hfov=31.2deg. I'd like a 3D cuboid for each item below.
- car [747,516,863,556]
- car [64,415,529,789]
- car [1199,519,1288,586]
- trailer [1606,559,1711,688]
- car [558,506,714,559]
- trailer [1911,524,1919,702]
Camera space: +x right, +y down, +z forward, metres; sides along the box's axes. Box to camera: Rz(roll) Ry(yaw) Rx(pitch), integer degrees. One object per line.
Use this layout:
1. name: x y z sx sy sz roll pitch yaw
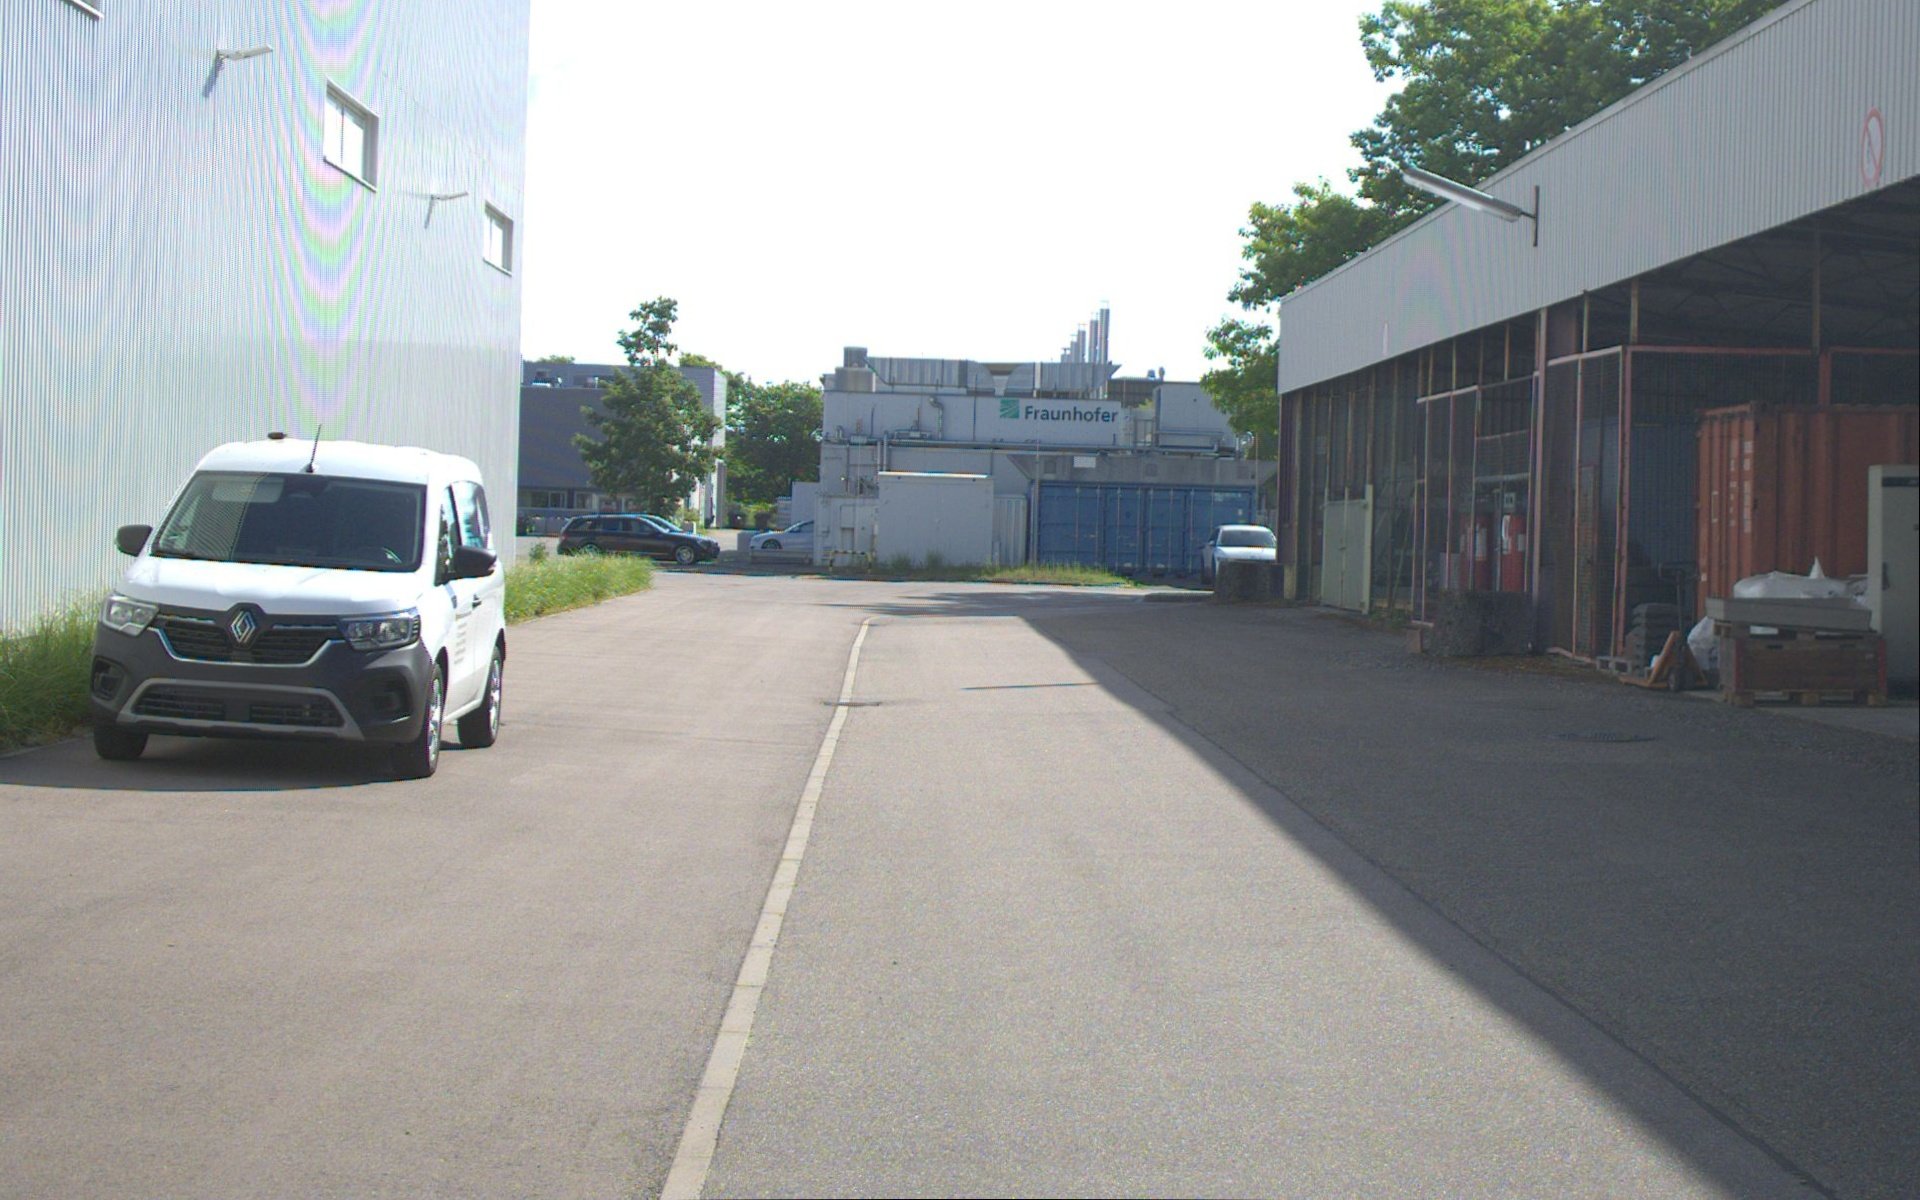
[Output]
1. car: -5.823 -2.418 129.615 4.302 1.452 1.824 1 1 -1
2. car: -3.663 -0.025 19.796 1.783 1.809 4.602 3 1 -1
3. car: 7.336 -1.257 89.396 1.979 1.597 4.378 0 2 1
4. trailer: 6.254 0.197 30.824 0.551 1.114 1.547 0 1 -3
5. car: -9.555 -1.993 101.683 4.447 1.525 1.824 1 1 -1
6. trailer: 8.900 0.123 27.736 2.038 1.461 1.738 0 1 3
